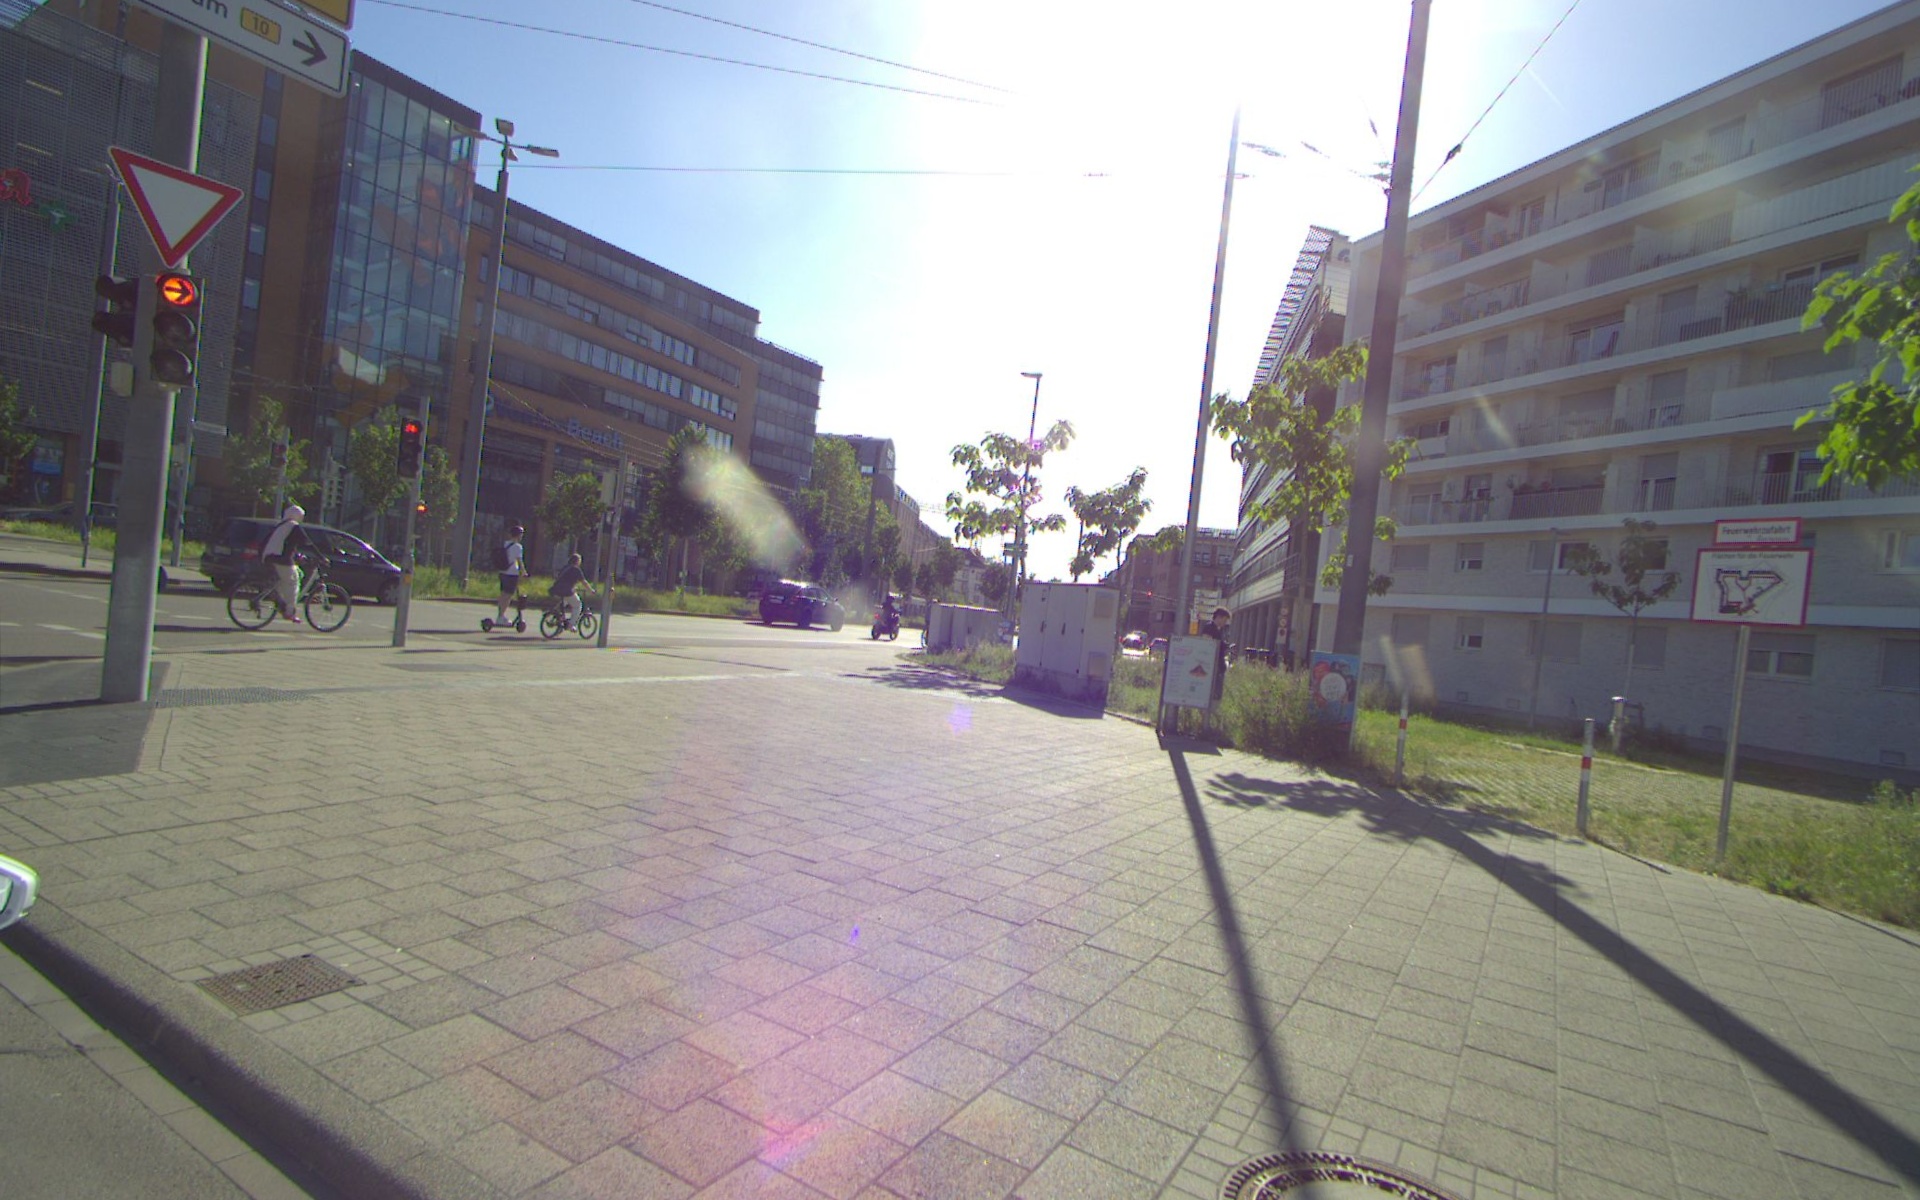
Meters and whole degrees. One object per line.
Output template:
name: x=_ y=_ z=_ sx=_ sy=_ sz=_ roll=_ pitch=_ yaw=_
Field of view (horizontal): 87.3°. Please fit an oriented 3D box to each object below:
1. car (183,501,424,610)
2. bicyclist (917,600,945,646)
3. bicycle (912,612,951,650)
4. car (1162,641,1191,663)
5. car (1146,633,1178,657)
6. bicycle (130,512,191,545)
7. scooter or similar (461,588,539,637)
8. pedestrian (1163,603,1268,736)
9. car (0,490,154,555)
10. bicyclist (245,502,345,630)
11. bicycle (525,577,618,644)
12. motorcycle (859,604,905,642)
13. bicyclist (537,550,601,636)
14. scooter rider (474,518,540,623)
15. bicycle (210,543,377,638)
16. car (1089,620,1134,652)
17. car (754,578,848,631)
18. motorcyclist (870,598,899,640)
car: x=-13.232 y=-0.842 z=20.526 sx=1.617 sy=1.665 sz=3.700 roll=7 pitch=-1 yaw=26
bicyclist: x=-1.067 y=0.857 z=37.456 sx=0.563 sy=1.585 sz=0.886 roll=7 pitch=-1 yaw=22
bicycle: x=-1.042 y=1.179 z=37.621 sx=0.576 sy=1.271 sz=2.042 roll=7 pitch=-2 yaw=22
car: x=17.916 y=4.315 z=83.264 sx=1.677 sy=1.515 sz=4.281 roll=7 pitch=-2 yaw=19
car: x=15.582 y=3.480 z=77.459 sx=1.677 sy=1.515 sz=4.281 roll=7 pitch=-2 yaw=19
bicycle: x=-40.519 y=-3.609 z=51.033 sx=0.595 sy=1.310 sz=2.260 roll=7 pitch=-2 yaw=30
scooter or similar: x=-8.825 y=0.256 z=19.325 sx=0.603 sy=0.795 sz=1.213 roll=7 pitch=-2 yaw=22
pedestrian: x=3.605 y=0.964 z=14.256 sx=0.970 sy=1.719 sz=0.842 roll=6 pitch=2 yaw=-16
car: x=-32.070 y=-2.768 z=36.327 sx=1.810 sy=1.484 sz=4.161 roll=6 pitch=-5 yaw=30
bicyclist: x=-9.664 y=-0.475 z=14.645 sx=0.563 sy=1.727 sz=0.885 roll=7 pitch=-1 yaw=25
bicycle: x=-7.722 y=0.225 z=20.094 sx=0.576 sy=1.150 sz=1.761 roll=7 pitch=-2 yaw=22
motorcycle: x=-3.005 y=0.910 z=38.929 sx=0.576 sy=1.297 sz=2.270 roll=7 pitch=-1 yaw=26
bicyclist: x=-7.749 y=-0.120 z=19.949 sx=0.563 sy=1.585 sz=0.886 roll=7 pitch=-1 yaw=22
scooter rider: x=-8.709 y=-0.555 z=19.354 sx=0.563 sy=1.894 sz=0.787 roll=7 pitch=-1 yaw=22
bicycle: x=-9.653 y=-0.104 z=14.667 sx=0.571 sy=1.150 sz=1.907 roll=7 pitch=-2 yaw=25
car: x=8.934 y=2.150 z=58.968 sx=1.677 sy=1.515 sz=4.281 roll=7 pitch=-2 yaw=19
car: x=-6.106 y=0.229 z=39.075 sx=1.616 sy=1.665 sz=4.200 roll=7 pitch=-1 yaw=20
motorcyclist: x=-2.916 y=0.745 z=39.086 sx=0.576 sy=1.554 sz=0.902 roll=7 pitch=0 yaw=26
